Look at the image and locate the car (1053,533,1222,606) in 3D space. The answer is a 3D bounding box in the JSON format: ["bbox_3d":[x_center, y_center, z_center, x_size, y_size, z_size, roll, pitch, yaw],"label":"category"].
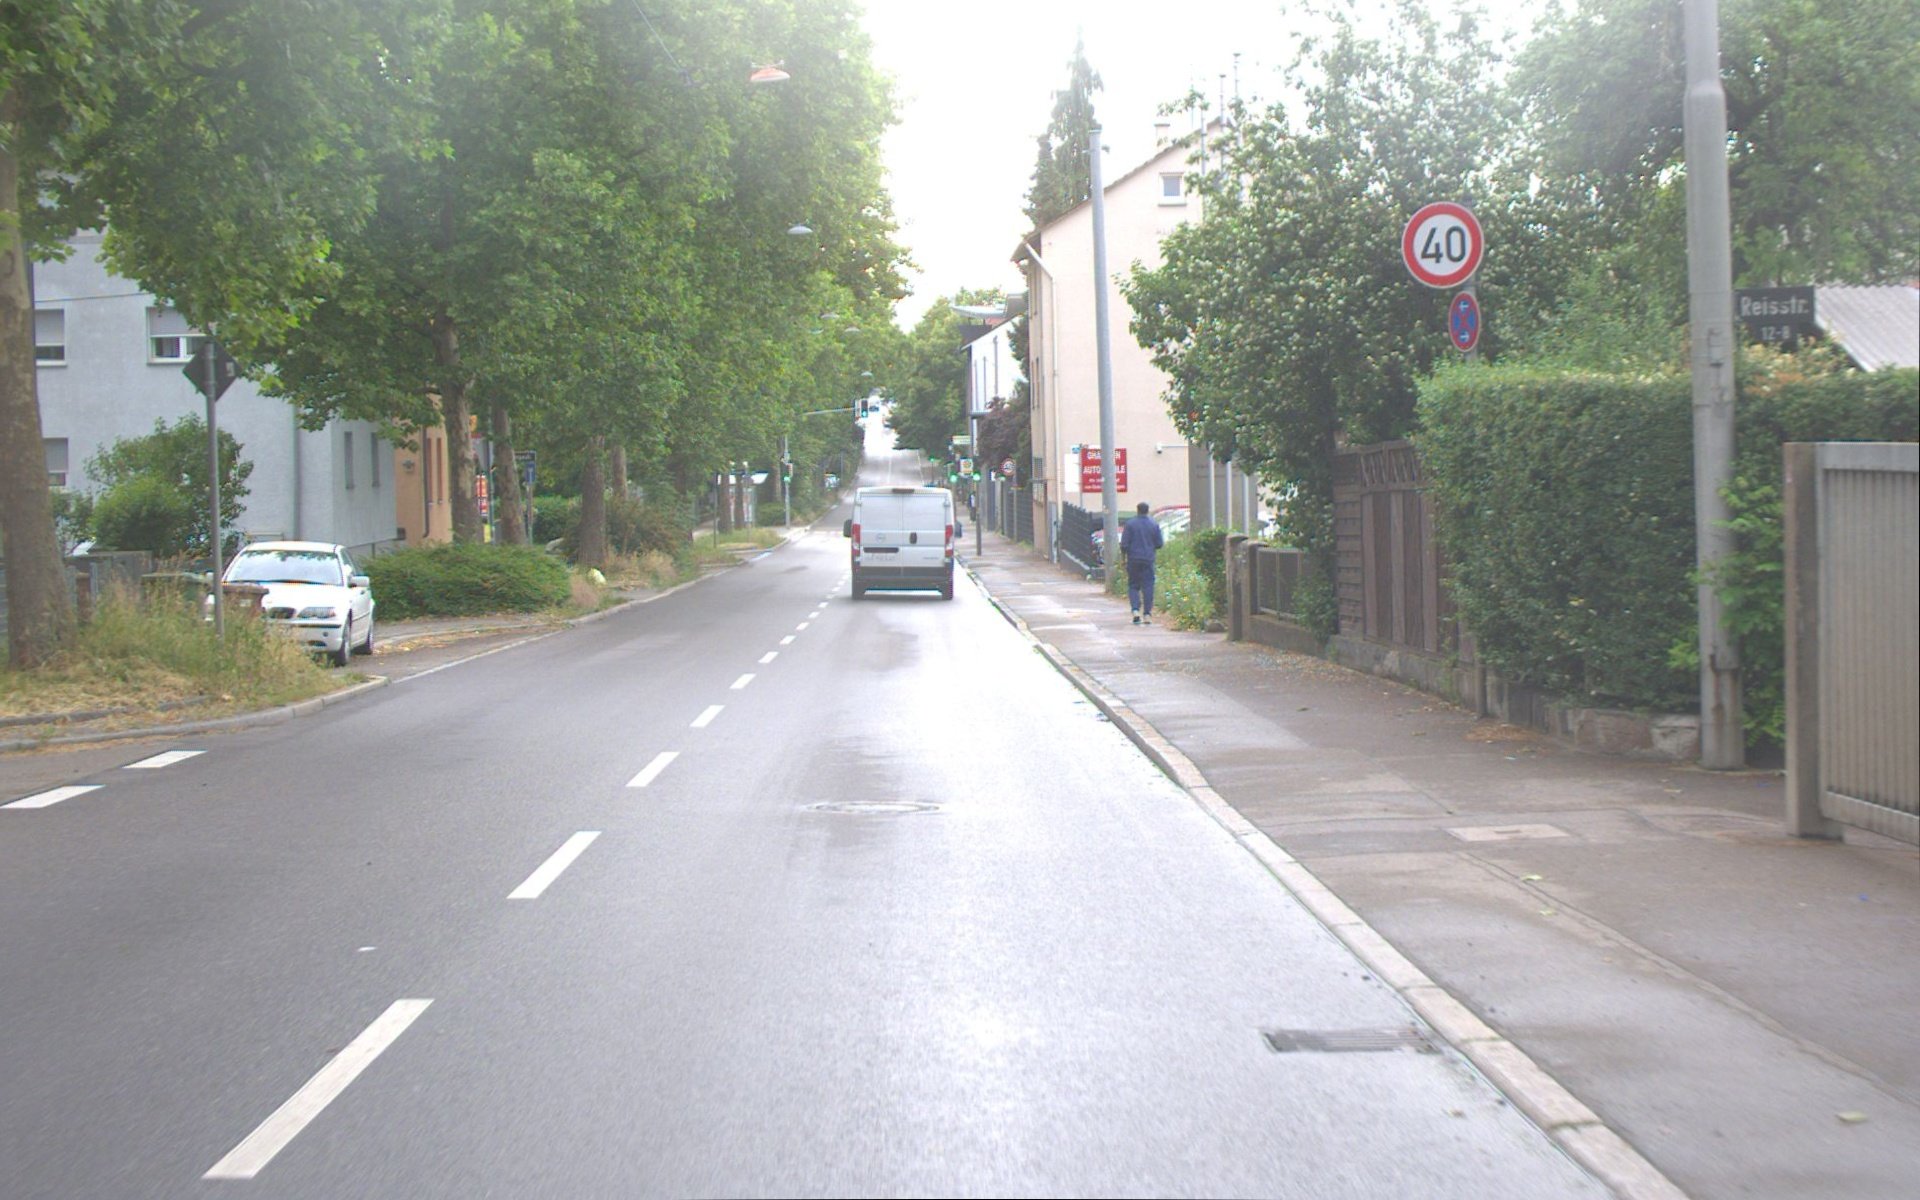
[{"bbox_3d":[4.420,-0.765,86.090,4.066,1.730,1.870,1,0,-1],"label":"car"}]

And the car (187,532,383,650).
[{"bbox_3d":[-8.003,-0.144,41.102,1.755,1.321,4.540,0,1,-4],"label":"car"}]

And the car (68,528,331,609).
[{"bbox_3d":[-14.610,-0.615,66.226,4.662,1.471,1.870,1,0,-1],"label":"car"}]

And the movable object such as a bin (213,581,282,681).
[{"bbox_3d":[-6.793,0.291,32.806,0.512,0.924,0.581,-2,0,-1],"label":"movable object such as a bin"}]

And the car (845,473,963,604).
[{"bbox_3d":[-1.120,-1.224,69.235,2.282,2.544,4.000,0,1,-1],"label":"car"}]

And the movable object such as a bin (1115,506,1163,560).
[{"bbox_3d":[5.175,-1.936,99.612,1.234,1.504,1.111,-3,1,-1],"label":"movable object such as a bin"}]

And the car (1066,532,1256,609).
[{"bbox_3d":[4.709,-0.693,80.997,4.302,1.762,2.000,0,1,-1],"label":"car"}]

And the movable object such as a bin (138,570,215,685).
[{"bbox_3d":[-7.434,0.254,32.632,0.534,1.054,0.762,-2,0,-1],"label":"movable object such as a bin"}]

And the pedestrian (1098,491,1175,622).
[{"bbox_3d":[2.570,-0.636,50.226,1.043,1.891,0.901,-1,0,-1],"label":"pedestrian"}]
